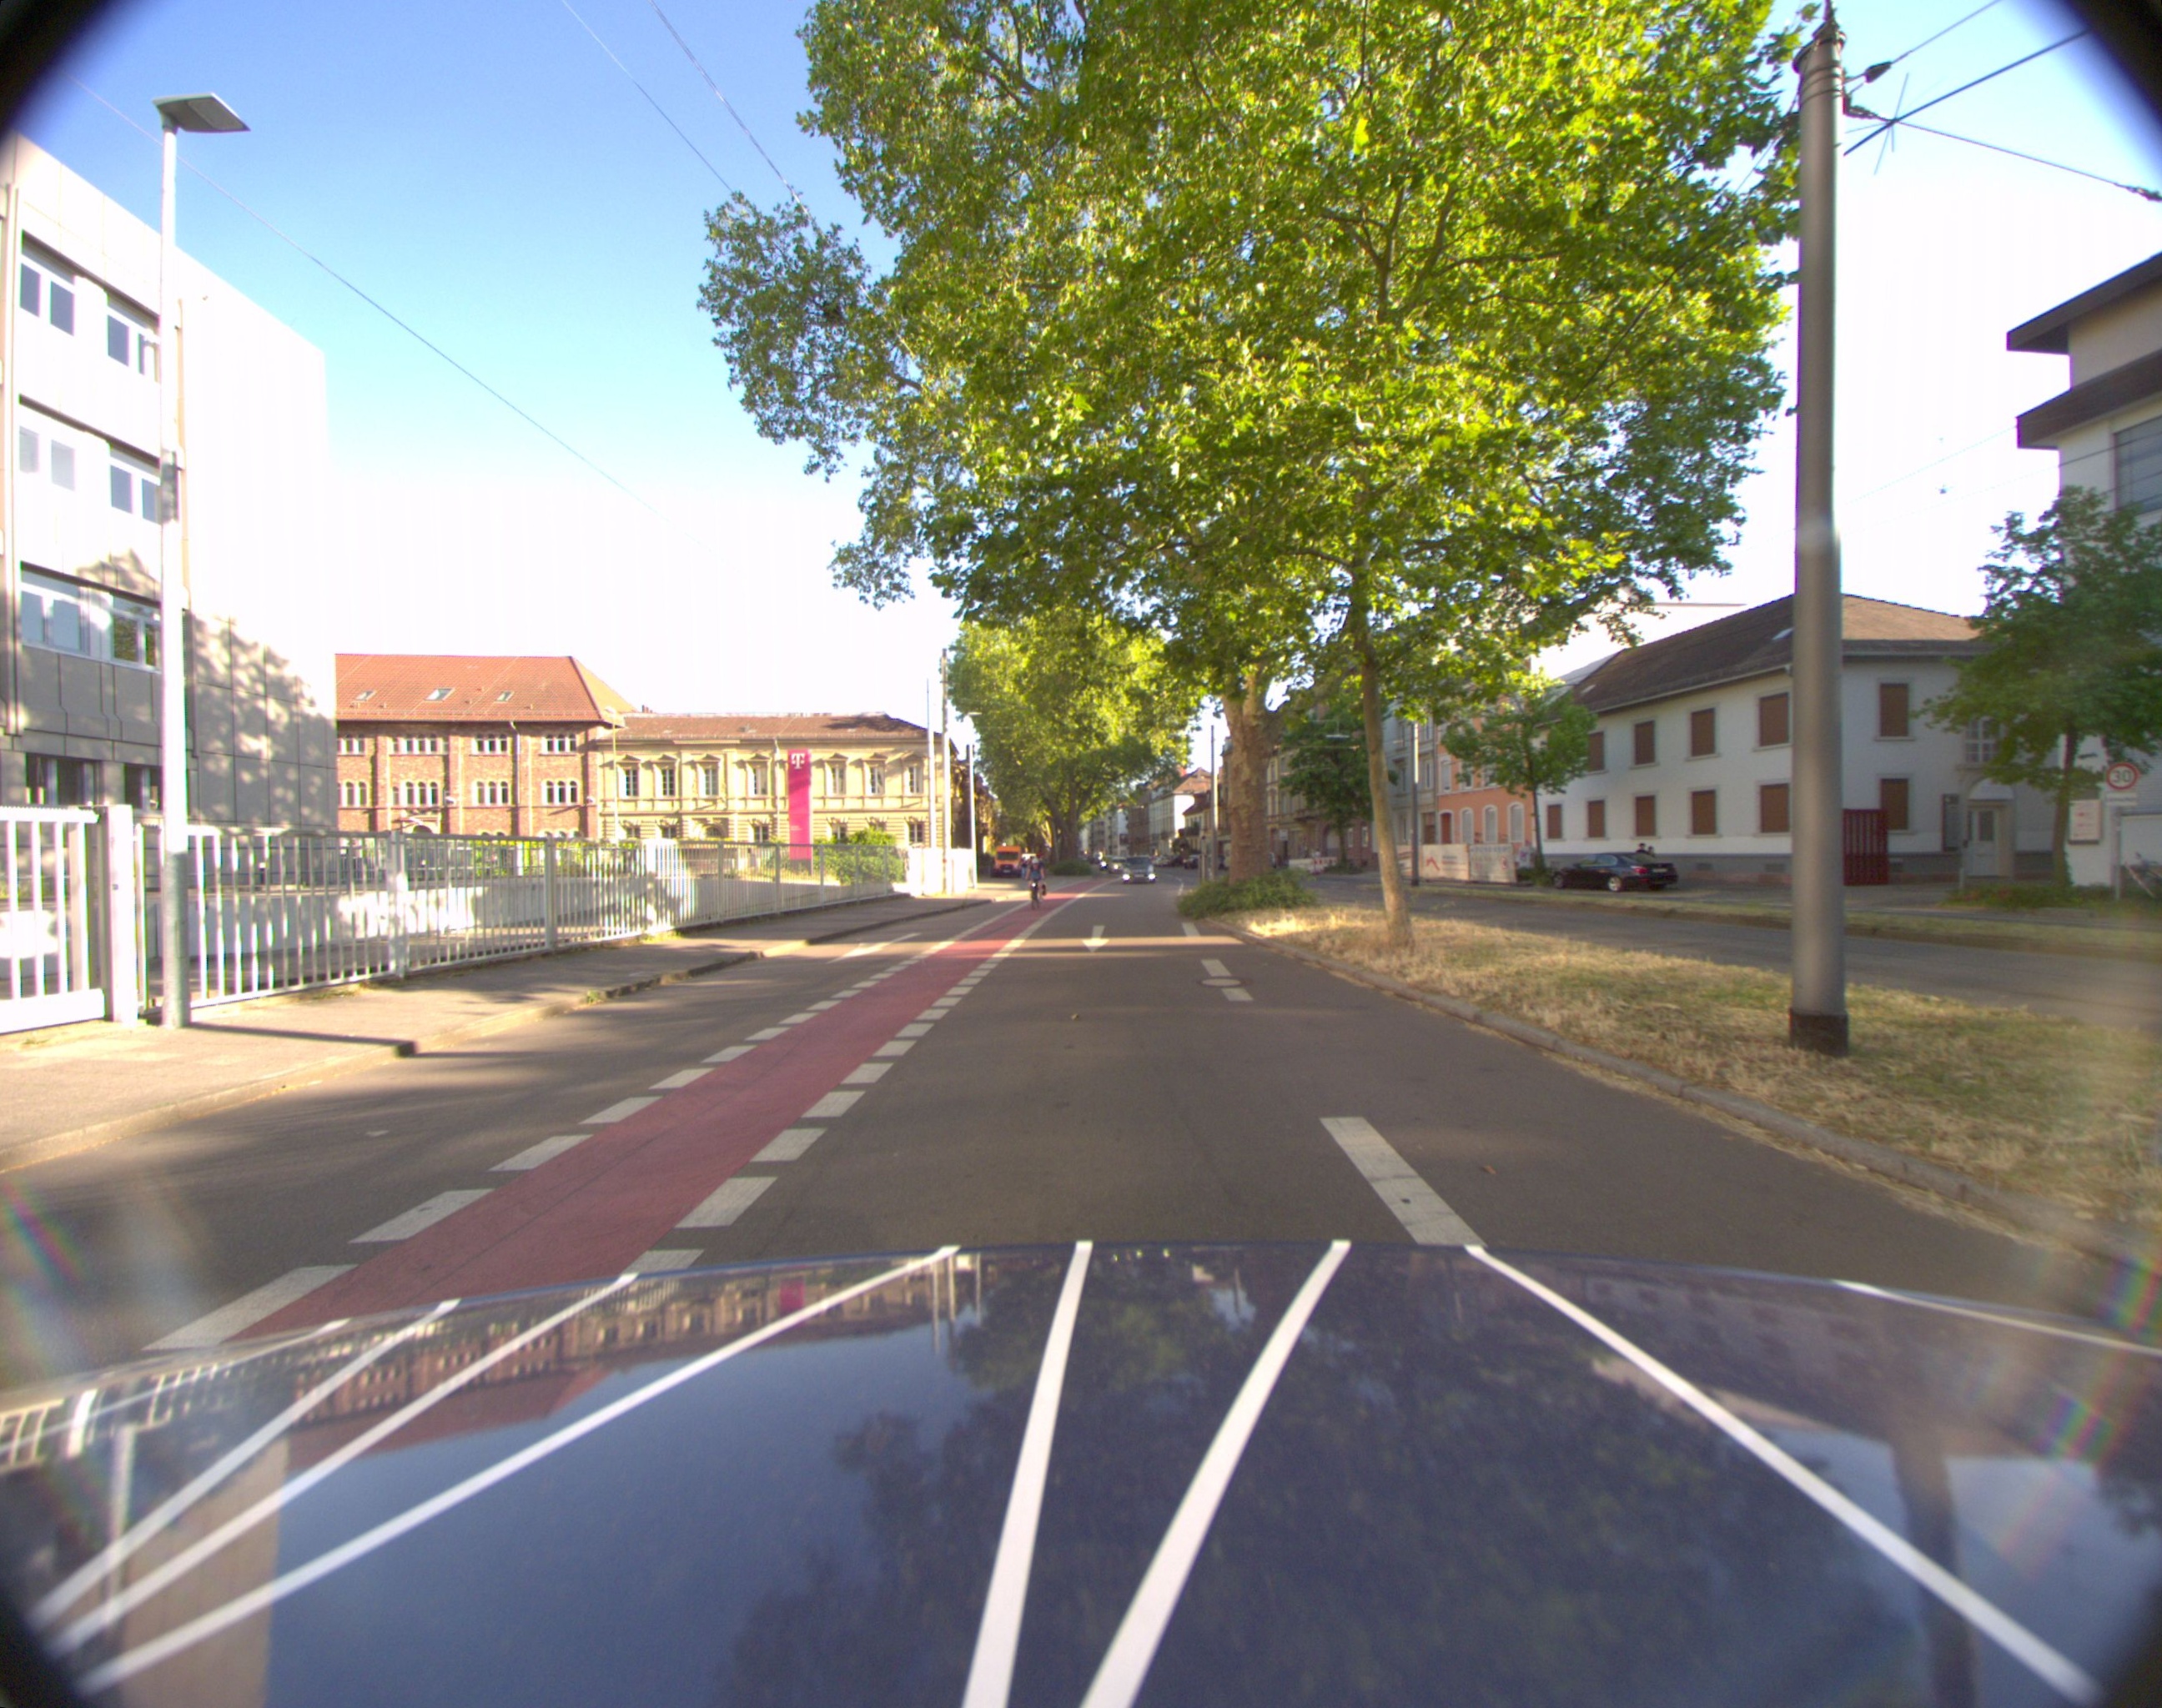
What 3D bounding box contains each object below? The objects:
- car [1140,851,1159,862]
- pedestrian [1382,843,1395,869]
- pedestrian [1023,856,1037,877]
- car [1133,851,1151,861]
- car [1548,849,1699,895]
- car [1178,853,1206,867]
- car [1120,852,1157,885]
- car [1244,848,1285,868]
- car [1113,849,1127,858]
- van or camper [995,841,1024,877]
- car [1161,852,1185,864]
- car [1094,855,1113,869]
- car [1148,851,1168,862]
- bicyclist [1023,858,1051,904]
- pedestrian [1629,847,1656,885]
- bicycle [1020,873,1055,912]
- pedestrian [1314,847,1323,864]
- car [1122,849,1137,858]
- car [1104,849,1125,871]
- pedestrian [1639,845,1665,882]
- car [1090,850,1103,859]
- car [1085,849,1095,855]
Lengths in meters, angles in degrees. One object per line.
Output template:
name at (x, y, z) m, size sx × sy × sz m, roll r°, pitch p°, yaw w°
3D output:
car at (10.804, 0.352, 120.793) m, size 2.088 × 1.531 × 4.095 m, roll -4°, pitch 1°, yaw -7°
pedestrian at (21.881, 0.128, 54.147) m, size 0.562 × 1.798 × 0.704 m, roll -1°, pitch 1°, yaw -11°
pedestrian at (-3.680, 0.894, 54.533) m, size 0.898 × 1.464 × 0.810 m, roll -1°, pitch 1°, yaw 3°
car at (10.475, 0.273, 130.703) m, size 2.088 × 1.531 × 4.253 m, roll -4°, pitch 1°, yaw -7°
car at (20.526, 0.628, 29.050) m, size 2.088 × 1.462 × 4.576 m, roll -4°, pitch 1°, yaw -7°
car at (13.529, 0.711, 92.919) m, size 2.088 × 1.531 × 4.513 m, roll -4°, pitch 1°, yaw -7°
car at (3.400, 0.794, 44.248) m, size 1.907 × 1.634 × 4.518 m, roll -3°, pitch 1°, yaw 6°
car at (16.880, 0.379, 70.218) m, size 2.088 × 1.664 × 4.530 m, roll -4°, pitch 1°, yaw -7°
car at (7.917, -0.120, 156.221) m, size 2.088 × 1.531 × 4.117 m, roll -4°, pitch 1°, yaw -7°
van or camper at (-5.451, 0.365, 58.701) m, size 1.999 × 2.578 × 5.623 m, roll -2°, pitch 1°, yaw -4°
car at (12.752, 0.494, 105.994) m, size 2.088 × 1.531 × 5.101 m, roll -4°, pitch 1°, yaw -7°
car at (2.484, 0.883, 84.570) m, size 1.998 × 1.376 × 4.000 m, roll -2°, pitch 1°, yaw 2°
car at (11.600, 0.388, 114.873) m, size 2.088 × 1.531 × 4.036 m, roll -4°, pitch 1°, yaw -7°
bicyclist at (-1.405, 0.871, 24.560) m, size 0.727 × 1.414 × 0.859 m, roll -2°, pitch 1°, yaw 5°
pedestrian at (22.855, 0.474, 30.921) m, size 0.537 × 1.519 × 0.711 m, roll -1°, pitch 1°, yaw -11°
bicycle at (-1.392, 1.226, 24.565) m, size 0.764 × 1.137 × 2.307 m, roll -1°, pitch 0°, yaw 5°
pedestrian at (20.611, 0.140, 65.877) m, size 0.640 × 1.519 × 0.616 m, roll -1°, pitch 1°, yaw 8°
car at (9.005, -0.018, 140.913) m, size 2.088 × 1.531 × 4.006 m, roll -4°, pitch 1°, yaw -7°
car at (3.317, 0.599, 75.359) m, size 1.998 × 2.002 × 4.000 m, roll -2°, pitch 1°, yaw 2°
pedestrian at (23.695, 0.372, 31.550) m, size 0.537 × 1.519 × 0.711 m, roll -1°, pitch 1°, yaw -5°
car at (3.250, 0.114, 158.788) m, size 2.000 × 1.741 × 3.997 m, roll -2°, pitch 1°, yaw -7°
car at (2.528, -0.667, 218.651) m, size 2.088 × 1.531 × 4.124 m, roll -4°, pitch 1°, yaw -7°
